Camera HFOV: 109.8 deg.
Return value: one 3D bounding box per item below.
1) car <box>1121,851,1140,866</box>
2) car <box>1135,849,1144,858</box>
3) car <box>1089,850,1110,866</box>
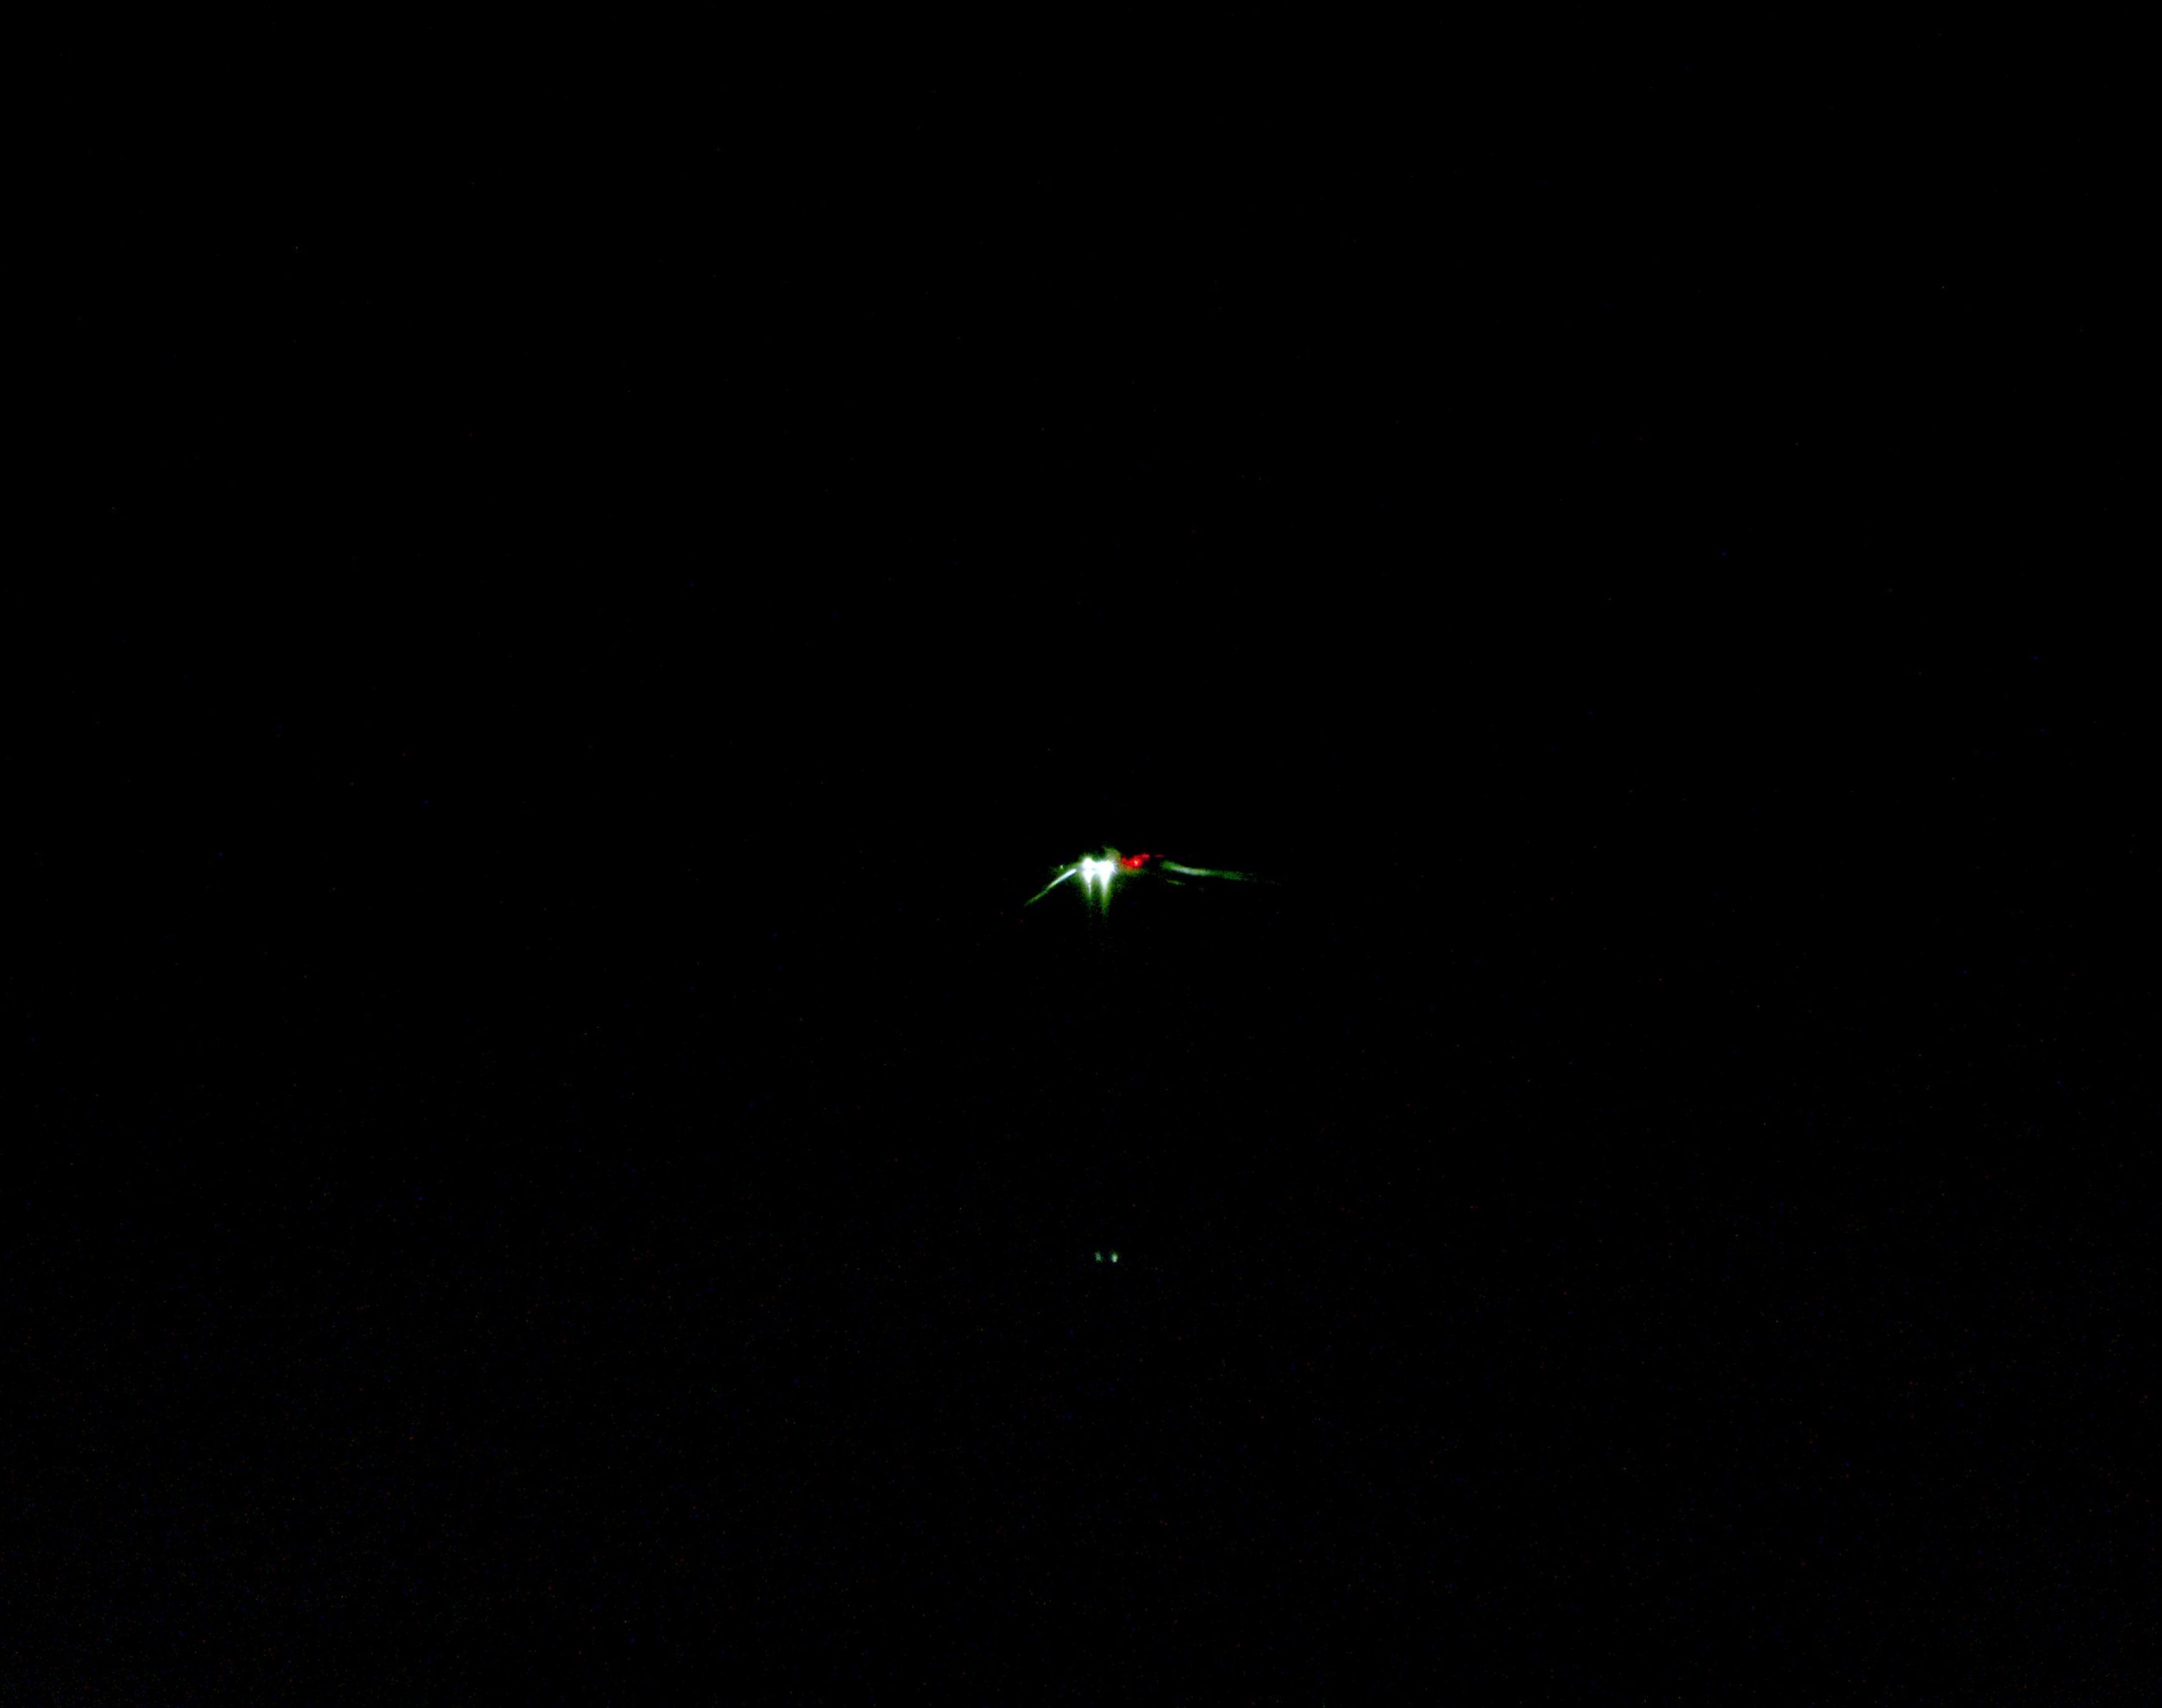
[{"bbox_3d":[5.317,0.421,82.096,1.834,1.559,3.780,-1,0,1],"label":"car"},{"bbox_3d":[13.557,-0.133,176.381,1.998,1.812,4.001,-1,1,4],"label":"car"},{"bbox_3d":[2.052,0.437,82.574,1.998,1.724,4.001,1,0,5],"label":"car"}]
